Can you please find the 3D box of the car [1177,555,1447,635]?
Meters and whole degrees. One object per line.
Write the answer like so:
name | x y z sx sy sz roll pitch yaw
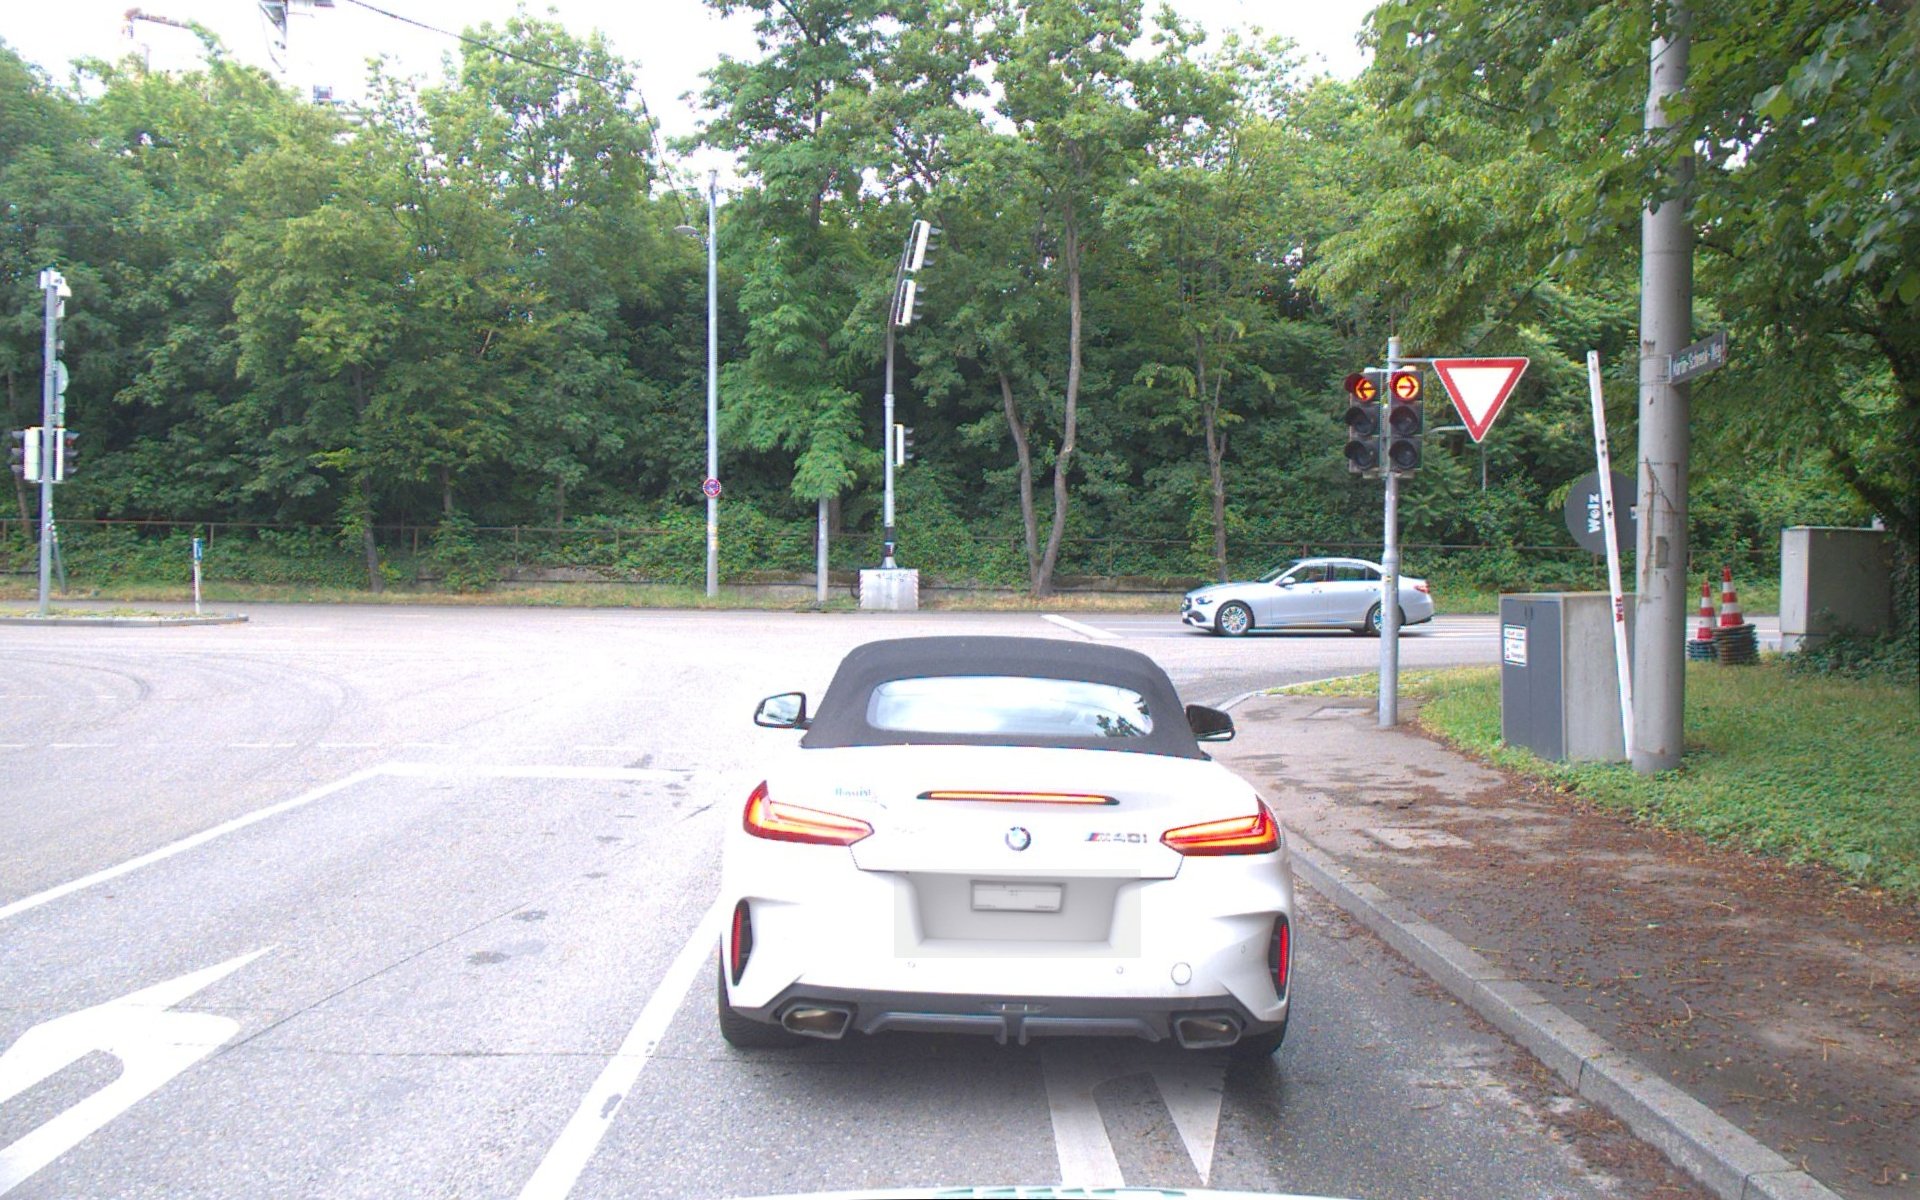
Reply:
car | 6.559 -0.113 31.135 4.656 1.356 1.833 1 3 -3

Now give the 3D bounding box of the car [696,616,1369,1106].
car | 0.111 0.750 6.461 1.791 1.279 3.997 2 -1 -3
